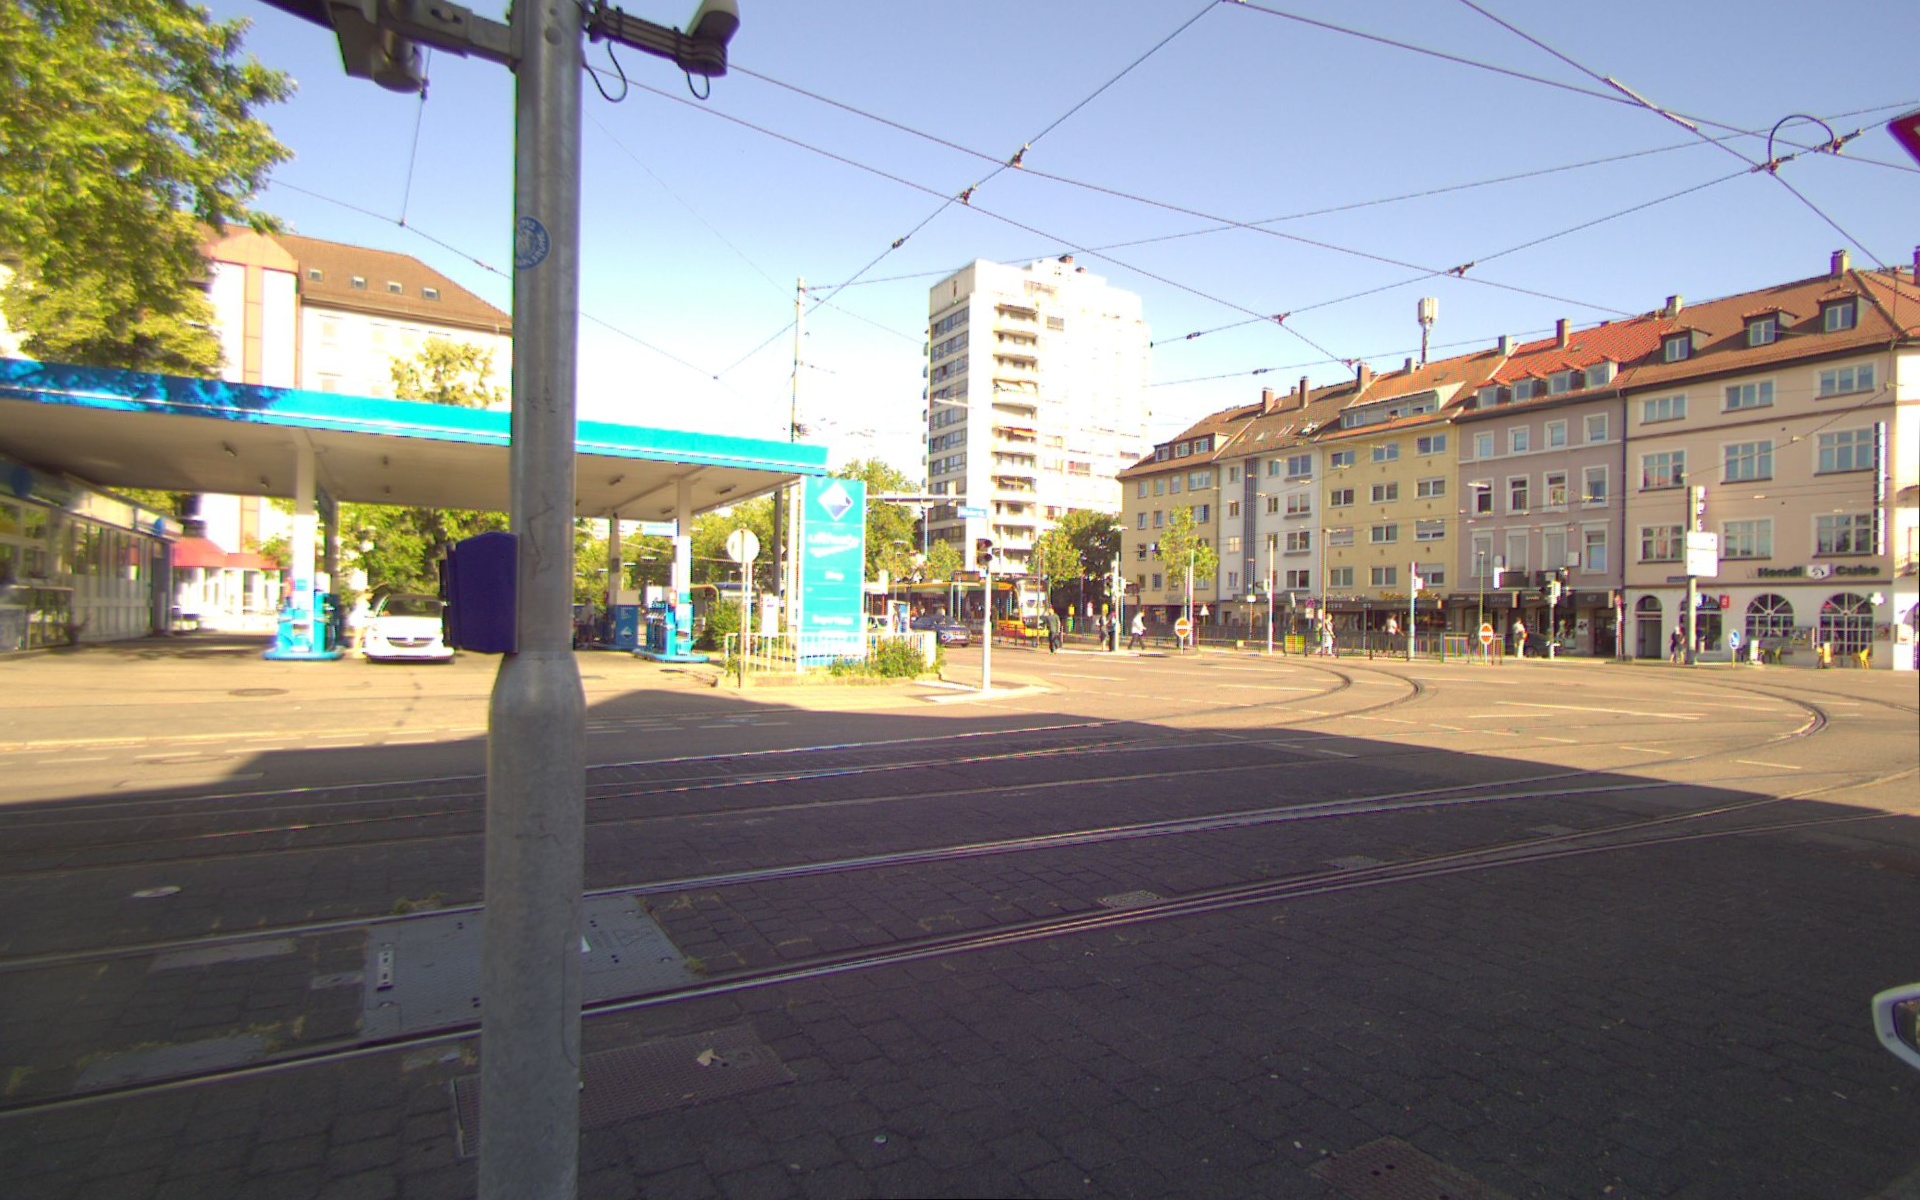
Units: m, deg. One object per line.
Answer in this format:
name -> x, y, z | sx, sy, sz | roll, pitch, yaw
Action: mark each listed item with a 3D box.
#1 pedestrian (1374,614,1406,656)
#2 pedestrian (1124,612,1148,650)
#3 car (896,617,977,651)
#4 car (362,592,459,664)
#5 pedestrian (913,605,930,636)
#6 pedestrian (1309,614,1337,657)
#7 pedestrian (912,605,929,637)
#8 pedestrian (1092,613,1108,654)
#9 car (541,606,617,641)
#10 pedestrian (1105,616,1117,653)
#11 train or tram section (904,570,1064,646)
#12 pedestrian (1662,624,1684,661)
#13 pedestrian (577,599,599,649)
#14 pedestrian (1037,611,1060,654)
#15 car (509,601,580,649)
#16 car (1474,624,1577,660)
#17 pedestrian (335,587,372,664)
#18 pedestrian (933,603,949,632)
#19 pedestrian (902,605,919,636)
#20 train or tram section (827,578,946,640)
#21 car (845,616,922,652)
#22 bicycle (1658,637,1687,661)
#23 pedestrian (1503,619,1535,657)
pedestrian -> 16.765, 1.374, 39.158 | 0.821, 1.598, 0.724 | 2, 0, -20
pedestrian -> 7.680, 1.342, 43.796 | 0.867, 1.598, 0.665 | 2, 0, -2
car -> -1.163, 1.616, 48.367 | 1.875, 1.550, 3.955 | 1, -2, -39
car -> -12.200, 0.605, 22.350 | 1.737, 1.461, 3.543 | 1, -1, -29
pedestrian -> -2.261, 1.196, 58.582 | 0.747, 1.756, 0.797 | 0, 0, -28
pedestrian -> 13.959, 1.366, 38.598 | 0.817, 1.598, 0.552 | 2, 0, -2
pedestrian -> -2.249, 1.189, 57.047 | 0.747, 1.756, 0.797 | 0, 0, -28
pedestrian -> 5.853, 1.392, 41.965 | 0.626, 1.666, 0.462 | 0, 0, 6
car -> -16.863, 1.041, 44.601 | 1.722, 1.461, 3.572 | 1, -1, 5
pedestrian -> 6.151, 1.405, 40.966 | 0.472, 1.525, 0.462 | 0, 0, 6
train or tram section -> 0.966, 0.484, 57.226 | 2.906, 3.864, 12.952 | 1, -1, -29
pedestrian -> 34.026, 2.029, 47.954 | 0.743, 1.692, 0.579 | 2, 0, -30
pedestrian -> -12.760, 0.817, 34.434 | 0.491, 1.724, 0.499 | 0, -1, 33
pedestrian -> 3.592, 1.311, 40.795 | 0.754, 1.702, 0.553 | 1, -1, -39
car -> -13.551, 0.784, 32.676 | 1.737, 1.461, 3.543 | 1, -1, -29
car -> 30.823, 2.289, 54.845 | 2.277, 1.734, 4.350 | 2, 0, -27
pedestrian -> -13.951, 0.587, 23.115 | 0.640, 1.724, 0.497 | 1, -1, -26
pedestrian -> -1.076, 0.991, 56.290 | 0.607, 1.598, 0.827 | 0, 0, -27
pedestrian -> -2.896, 1.176, 58.358 | 0.747, 1.756, 0.797 | 0, 0, -28
train or tram section -> -5.294, 0.616, 68.398 | 2.907, 3.864, 12.719 | 1, -1, -30
car -> -3.590, 1.552, 46.737 | 1.871, 1.550, 3.963 | 1, -1, -33
bicycle -> 34.013, 2.326, 47.953 | 1.479, 1.091, 0.570 | 2, 0, -30
pedestrian -> 24.478, 1.669, 43.981 | 0.821, 1.598, 0.847 | 2, 0, -20
